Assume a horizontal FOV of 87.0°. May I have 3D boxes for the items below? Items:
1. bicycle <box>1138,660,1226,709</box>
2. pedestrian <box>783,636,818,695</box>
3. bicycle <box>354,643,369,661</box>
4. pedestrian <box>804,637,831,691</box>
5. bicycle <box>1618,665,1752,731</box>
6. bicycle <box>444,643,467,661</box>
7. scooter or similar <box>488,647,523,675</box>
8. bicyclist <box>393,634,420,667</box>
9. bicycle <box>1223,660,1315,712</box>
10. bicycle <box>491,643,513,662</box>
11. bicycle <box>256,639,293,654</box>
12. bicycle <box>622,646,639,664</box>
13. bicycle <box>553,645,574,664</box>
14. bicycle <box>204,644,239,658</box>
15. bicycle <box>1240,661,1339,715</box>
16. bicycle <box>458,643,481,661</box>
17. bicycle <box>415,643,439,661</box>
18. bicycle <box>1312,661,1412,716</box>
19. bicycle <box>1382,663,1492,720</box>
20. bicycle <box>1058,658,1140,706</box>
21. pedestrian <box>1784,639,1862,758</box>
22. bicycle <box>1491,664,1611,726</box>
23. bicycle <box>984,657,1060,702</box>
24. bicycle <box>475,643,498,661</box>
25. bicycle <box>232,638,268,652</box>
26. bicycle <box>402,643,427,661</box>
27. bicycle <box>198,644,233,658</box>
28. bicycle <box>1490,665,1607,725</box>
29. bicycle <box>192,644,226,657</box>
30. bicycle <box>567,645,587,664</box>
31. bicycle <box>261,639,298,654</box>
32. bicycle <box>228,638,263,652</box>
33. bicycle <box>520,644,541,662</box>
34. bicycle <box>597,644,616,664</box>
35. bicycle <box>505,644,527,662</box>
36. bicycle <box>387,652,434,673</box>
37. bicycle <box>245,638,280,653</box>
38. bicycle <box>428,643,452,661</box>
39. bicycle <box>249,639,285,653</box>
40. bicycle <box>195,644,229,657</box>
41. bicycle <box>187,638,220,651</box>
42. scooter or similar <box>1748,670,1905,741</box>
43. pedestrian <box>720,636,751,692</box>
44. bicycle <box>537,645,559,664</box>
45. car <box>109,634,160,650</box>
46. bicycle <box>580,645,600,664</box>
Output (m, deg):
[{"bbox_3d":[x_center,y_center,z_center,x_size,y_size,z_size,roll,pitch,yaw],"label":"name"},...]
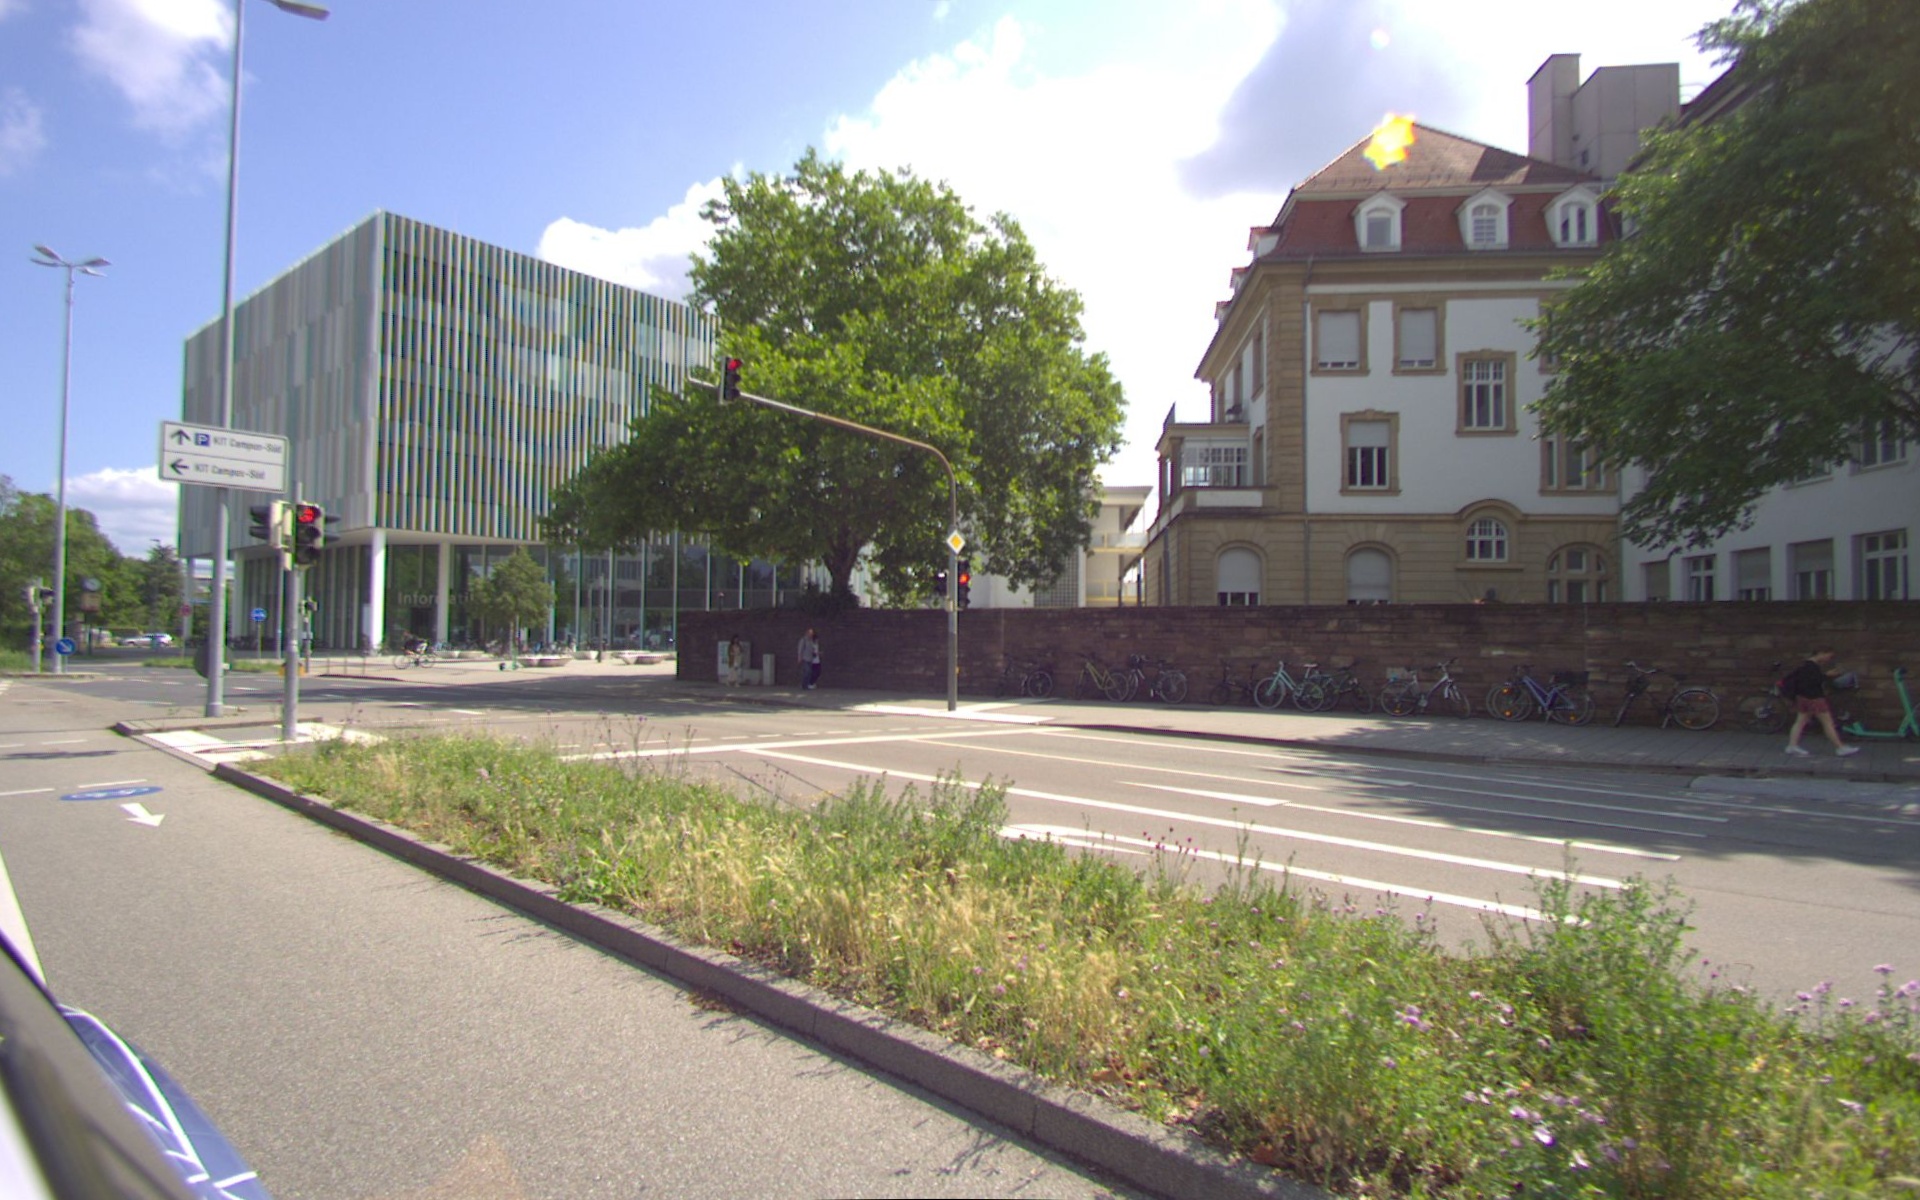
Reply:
[{"bbox_3d":[5.038,1.905,23.027,1.876,1.056,0.559,-1,-3,34],"label":"bicycle"},{"bbox_3d":[-4.577,1.860,29.019,0.730,1.664,0.635,-2,-3,38],"label":"pedestrian"},{"bbox_3d":[-37.413,3.273,63.266,0.539,1.105,1.637,2,-3,-38],"label":"bicycle"},{"bbox_3d":[-4.168,1.847,29.517,0.615,1.552,0.471,-2,-3,38],"label":"pedestrian"},{"bbox_3d":[12.693,1.700,17.794,1.876,1.056,0.575,-1,-3,34],"label":"bicycle"},{"bbox_3d":[-31.475,3.232,63.181,0.711,1.105,2.223,1,-3,-10],"label":"bicycle"},{"bbox_3d":[-19.118,2.559,42.608,0.499,1.166,1.495,-1,-3,15],"label":"scooter or similar"},{"bbox_3d":[-24.937,2.256,45.609,0.931,1.475,0.633,1,-3,-15],"label":"bicyclist"},{"bbox_3d":[6.704,1.844,21.998,1.876,1.056,0.367,-1,-3,34],"label":"bicycle"},{"bbox_3d":[-28.323,3.236,62.600,0.711,1.105,2.223,1,-3,-10],"label":"bicycle"},{"bbox_3d":[-52.324,3.572,77.232,0.754,1.105,2.191,-2,-3,35],"label":"bicycle"},{"bbox_3d":[-20.372,3.394,62.560,0.711,1.105,2.223,1,-3,-10],"label":"bicycle"},{"bbox_3d":[-24.566,3.370,62.733,0.735,1.199,2.323,1,-3,-10],"label":"bicycle"},{"bbox_3d":[-61.716,4.270,84.568,0.721,1.105,2.191,-2,-3,35],"label":"bicycle"},{"bbox_3d":[6.874,1.820,21.163,1.876,1.056,0.587,-1,-3,34],"label":"bicycle"},{"bbox_3d":[-30.655,3.243,63.327,0.711,1.105,2.223,1,-3,-10],"label":"bicycle"},{"bbox_3d":[-33.269,3.236,63.179,0.711,1.105,2.223,1,-3,-10],"label":"bicycle"},{"bbox_3d":[8.263,1.807,20.872,1.876,1.056,0.367,-1,-3,34],"label":"bicycle"},{"bbox_3d":[9.286,1.770,19.761,1.866,1.056,0.590,0,-3,19],"label":"bicycle"},{"bbox_3d":[3.309,1.943,24.197,1.876,1.056,0.624,-1,-3,34],"label":"bicycle"},{"bbox_3d":[12.263,1.375,14.398,0.743,1.622,0.650,-1,-2,35],"label":"pedestrian"},{"bbox_3d":[10.865,1.731,18.653,1.876,1.056,0.369,-1,-3,34],"label":"bicycle"},{"bbox_3d":[1.552,1.985,25.475,1.876,1.056,0.624,-1,-3,34],"label":"bicycle"},{"bbox_3d":[-29.308,3.228,62.649,0.711,1.105,2.223,1,-3,-10],"label":"bicycle"},{"bbox_3d":[-56.649,3.615,80.775,0.721,1.105,2.191,-2,-3,35],"label":"bicycle"},{"bbox_3d":[-34.013,3.246,63.122,0.711,1.105,2.223,1,-3,-10],"label":"bicycle"},{"bbox_3d":[-62.629,4.275,85.145,0.721,1.105,2.191,-2,-3,35],"label":"bicycle"},{"bbox_3d":[11.036,1.762,19.018,1.876,1.056,0.390,-1,-3,34],"label":"bicycle"},{"bbox_3d":[-64.199,4.286,86.502,0.721,1.098,2.191,-2,-3,35],"label":"bicycle"},{"bbox_3d":[-23.782,3.369,62.880,0.735,1.199,2.323,1,-3,-10],"label":"bicycle"},{"bbox_3d":[-51.549,3.497,76.626,0.721,1.105,2.191,-2,-3,35],"label":"bicycle"},{"bbox_3d":[-57.442,3.645,81.356,0.721,1.105,2.191,-2,-3,35],"label":"bicycle"},{"bbox_3d":[-26.711,3.268,62.923,0.711,1.105,2.223,1,-3,-10],"label":"bicycle"},{"bbox_3d":[-21.940,3.356,62.805,0.735,1.199,2.323,1,-3,-10],"label":"bicycle"},{"bbox_3d":[-27.479,3.250,62.660,0.711,1.105,2.223,1,-3,-10],"label":"bicycle"},{"bbox_3d":[-24.746,2.818,45.635,1.745,0.899,0.640,1,-3,-15],"label":"bicycle"},{"bbox_3d":[-54.926,3.581,79.703,0.721,1.105,2.191,-2,-3,35],"label":"bicycle"},{"bbox_3d":[-32.556,3.244,63.388,0.711,1.105,2.223,1,-3,-10],"label":"bicycle"},{"bbox_3d":[-53.950,3.568,78.812,0.734,1.105,2.191,-2,-3,35],"label":"bicycle"},{"bbox_3d":[-63.443,4.297,85.892,0.721,1.105,2.191,-2,-3,35],"label":"bicycle"},{"bbox_3d":[-67.094,3.967,89.778,0.721,1.105,2.191,-2,-3,35],"label":"bicycle"},{"bbox_3d":[14.255,1.717,16.716,1.876,1.056,0.575,-1,-3,34],"label":"scooter or similar"},{"bbox_3d":[-6.882,1.951,31.017,0.726,1.664,0.555,-2,-3,38],"label":"pedestrian"},{"bbox_3d":[-25.589,3.380,62.886,0.735,1.146,2.323,1,-3,-10],"label":"bicycle"},{"bbox_3d":[-87.522,4.442,107.326,1.646,1.699,3.944,-2,-3,42],"label":"car"},{"bbox_3d":[-22.858,3.356,62.602,0.735,1.199,2.323,1,-3,-10],"label":"bicycle"}]
